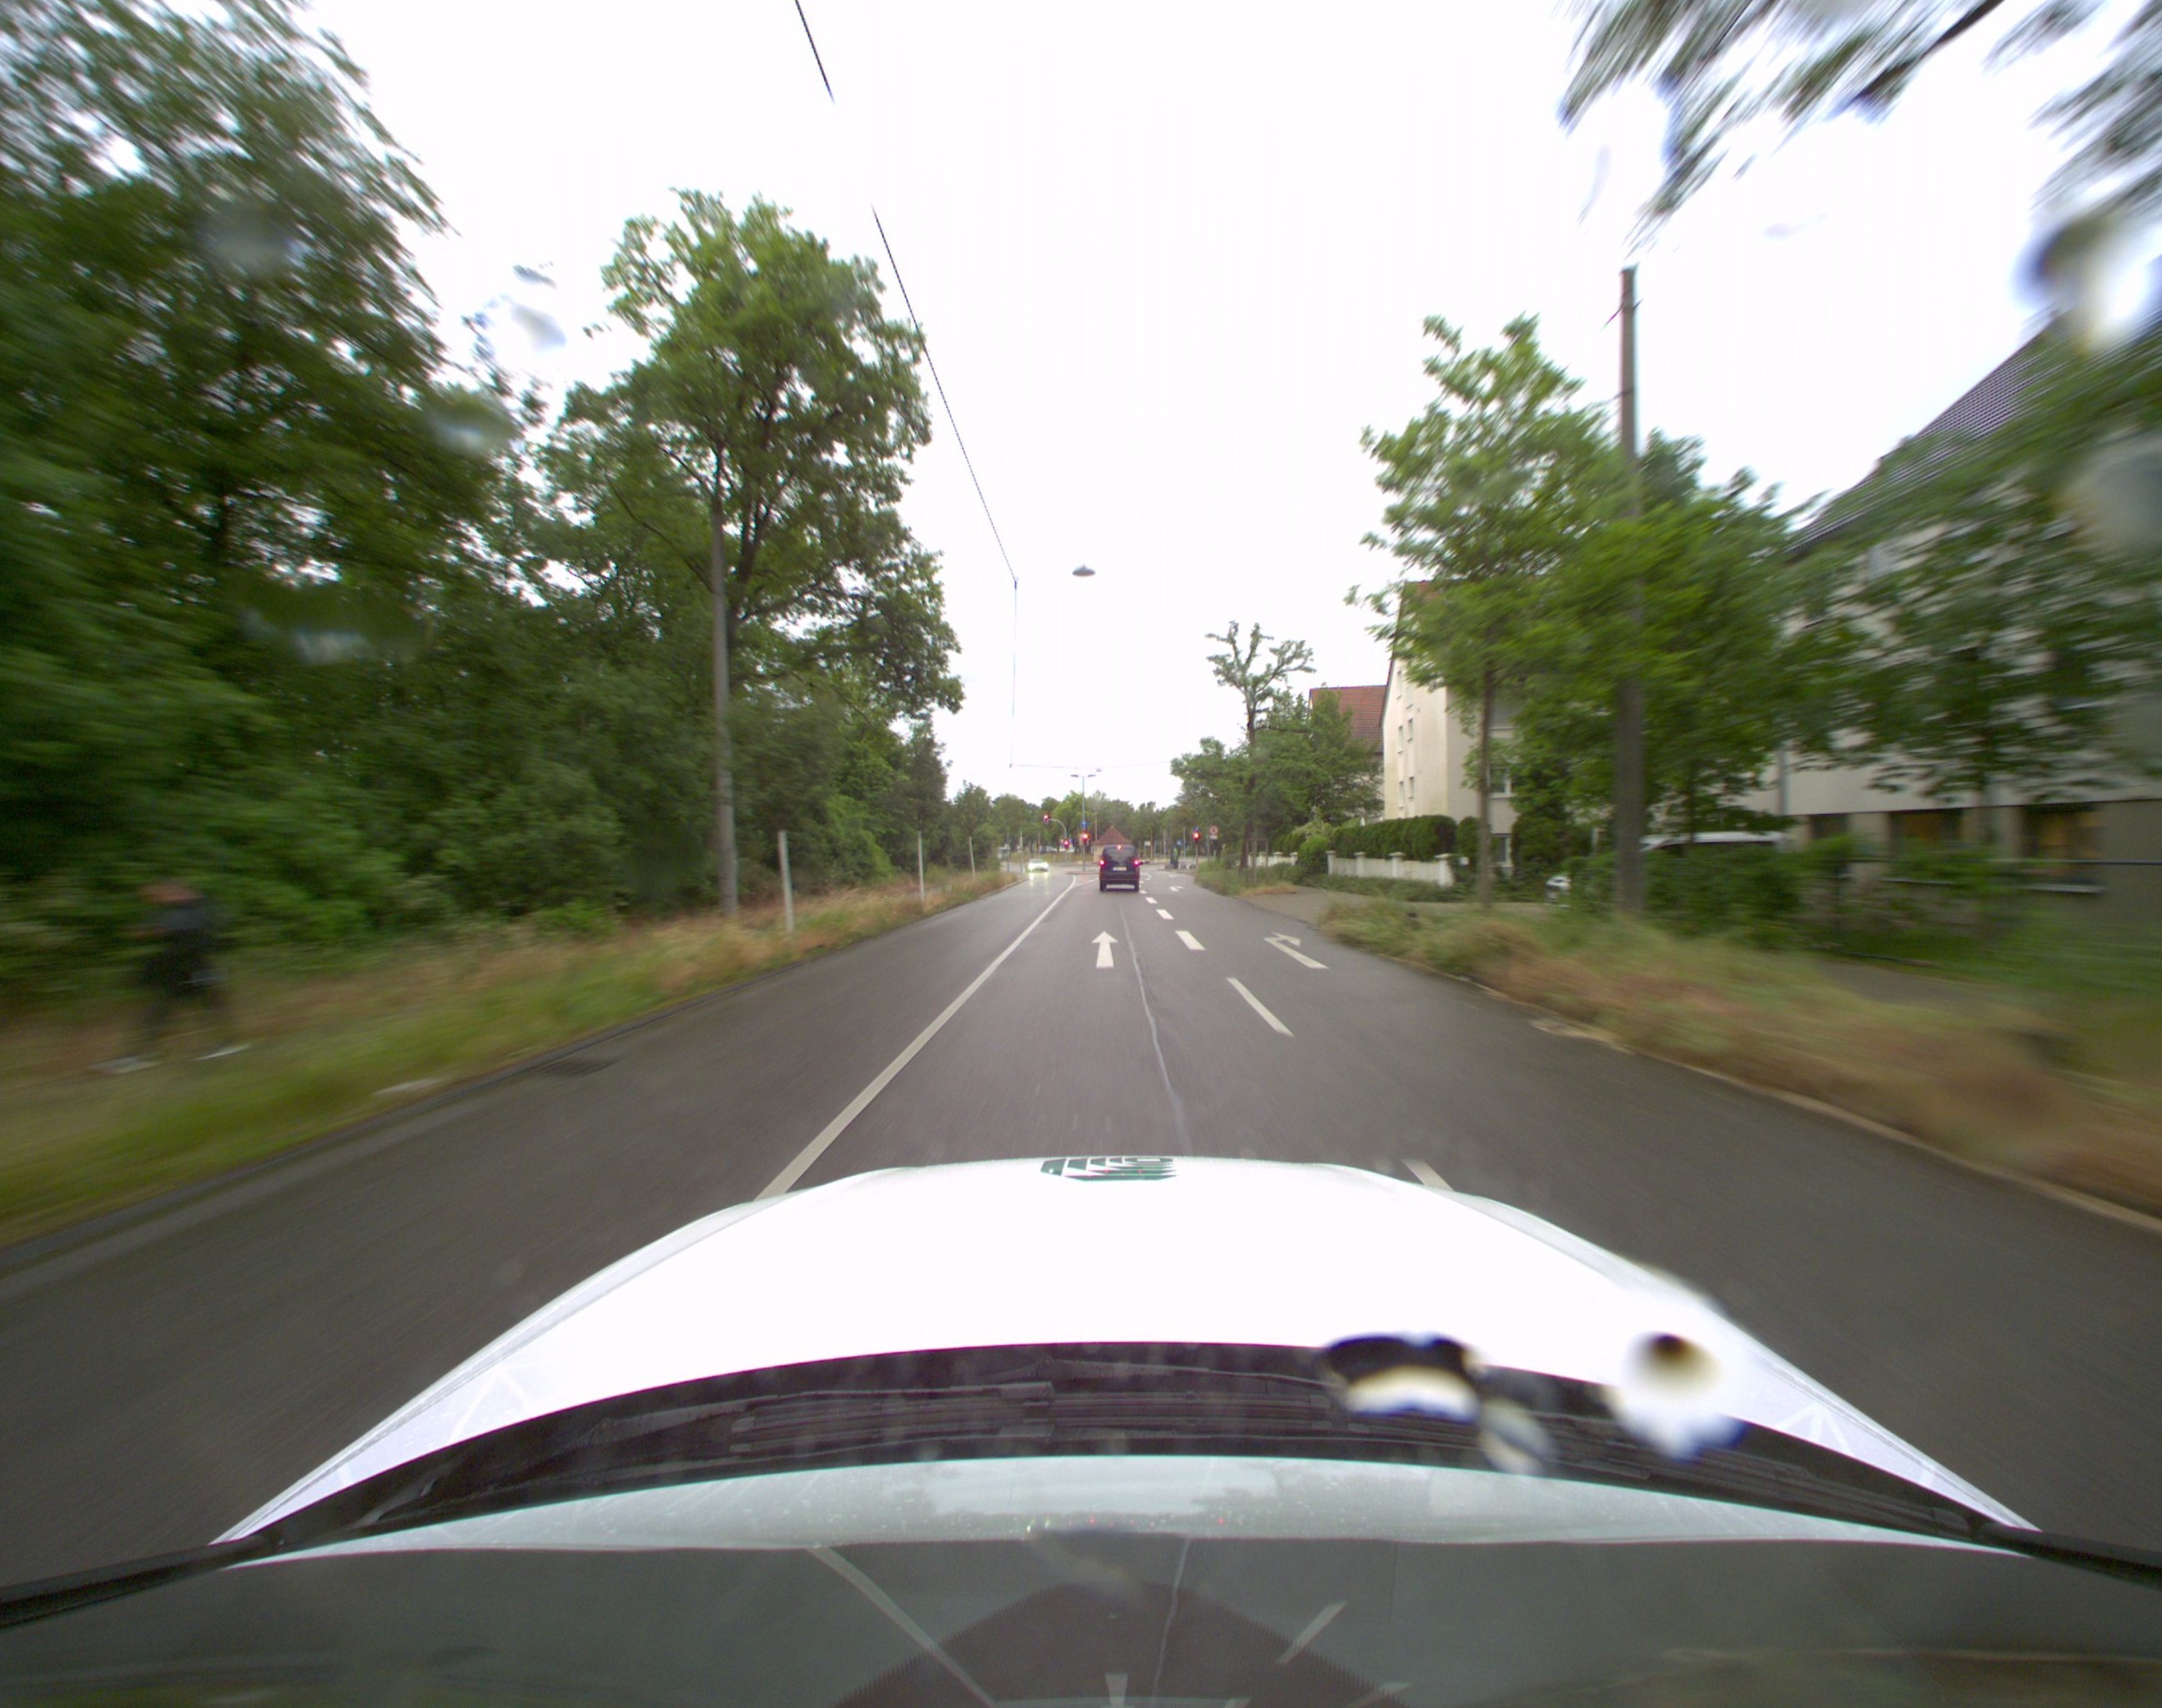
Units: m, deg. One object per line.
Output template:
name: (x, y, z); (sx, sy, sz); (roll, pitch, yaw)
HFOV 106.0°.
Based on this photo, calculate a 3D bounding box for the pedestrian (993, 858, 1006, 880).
pedestrian: (-7.510, 1.395, 75.028); (1.085, 2.014, 0.999); (0, -1, -2)

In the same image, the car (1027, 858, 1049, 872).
car: (-4.465, 1.154, 84.431); (1.992, 1.311, 4.349); (-4, 0, -7)

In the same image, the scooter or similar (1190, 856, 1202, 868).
scooter or similar: (11.647, 0.848, 82.763); (1.144, 1.219, 0.406); (-1, -2, 2)

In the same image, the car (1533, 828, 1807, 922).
car: (12.120, 0.406, 17.081); (4.275, 1.817, 1.880); (0, 0, 12)

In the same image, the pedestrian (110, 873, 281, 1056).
pedestrian: (-8.320, 0.999, 7.688); (0.778, 1.608, 0.732); (-1, 0, 0)

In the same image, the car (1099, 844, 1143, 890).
car: (1.645, 0.510, 34.108); (1.725, 1.786, 4.001); (0, 0, 1)
